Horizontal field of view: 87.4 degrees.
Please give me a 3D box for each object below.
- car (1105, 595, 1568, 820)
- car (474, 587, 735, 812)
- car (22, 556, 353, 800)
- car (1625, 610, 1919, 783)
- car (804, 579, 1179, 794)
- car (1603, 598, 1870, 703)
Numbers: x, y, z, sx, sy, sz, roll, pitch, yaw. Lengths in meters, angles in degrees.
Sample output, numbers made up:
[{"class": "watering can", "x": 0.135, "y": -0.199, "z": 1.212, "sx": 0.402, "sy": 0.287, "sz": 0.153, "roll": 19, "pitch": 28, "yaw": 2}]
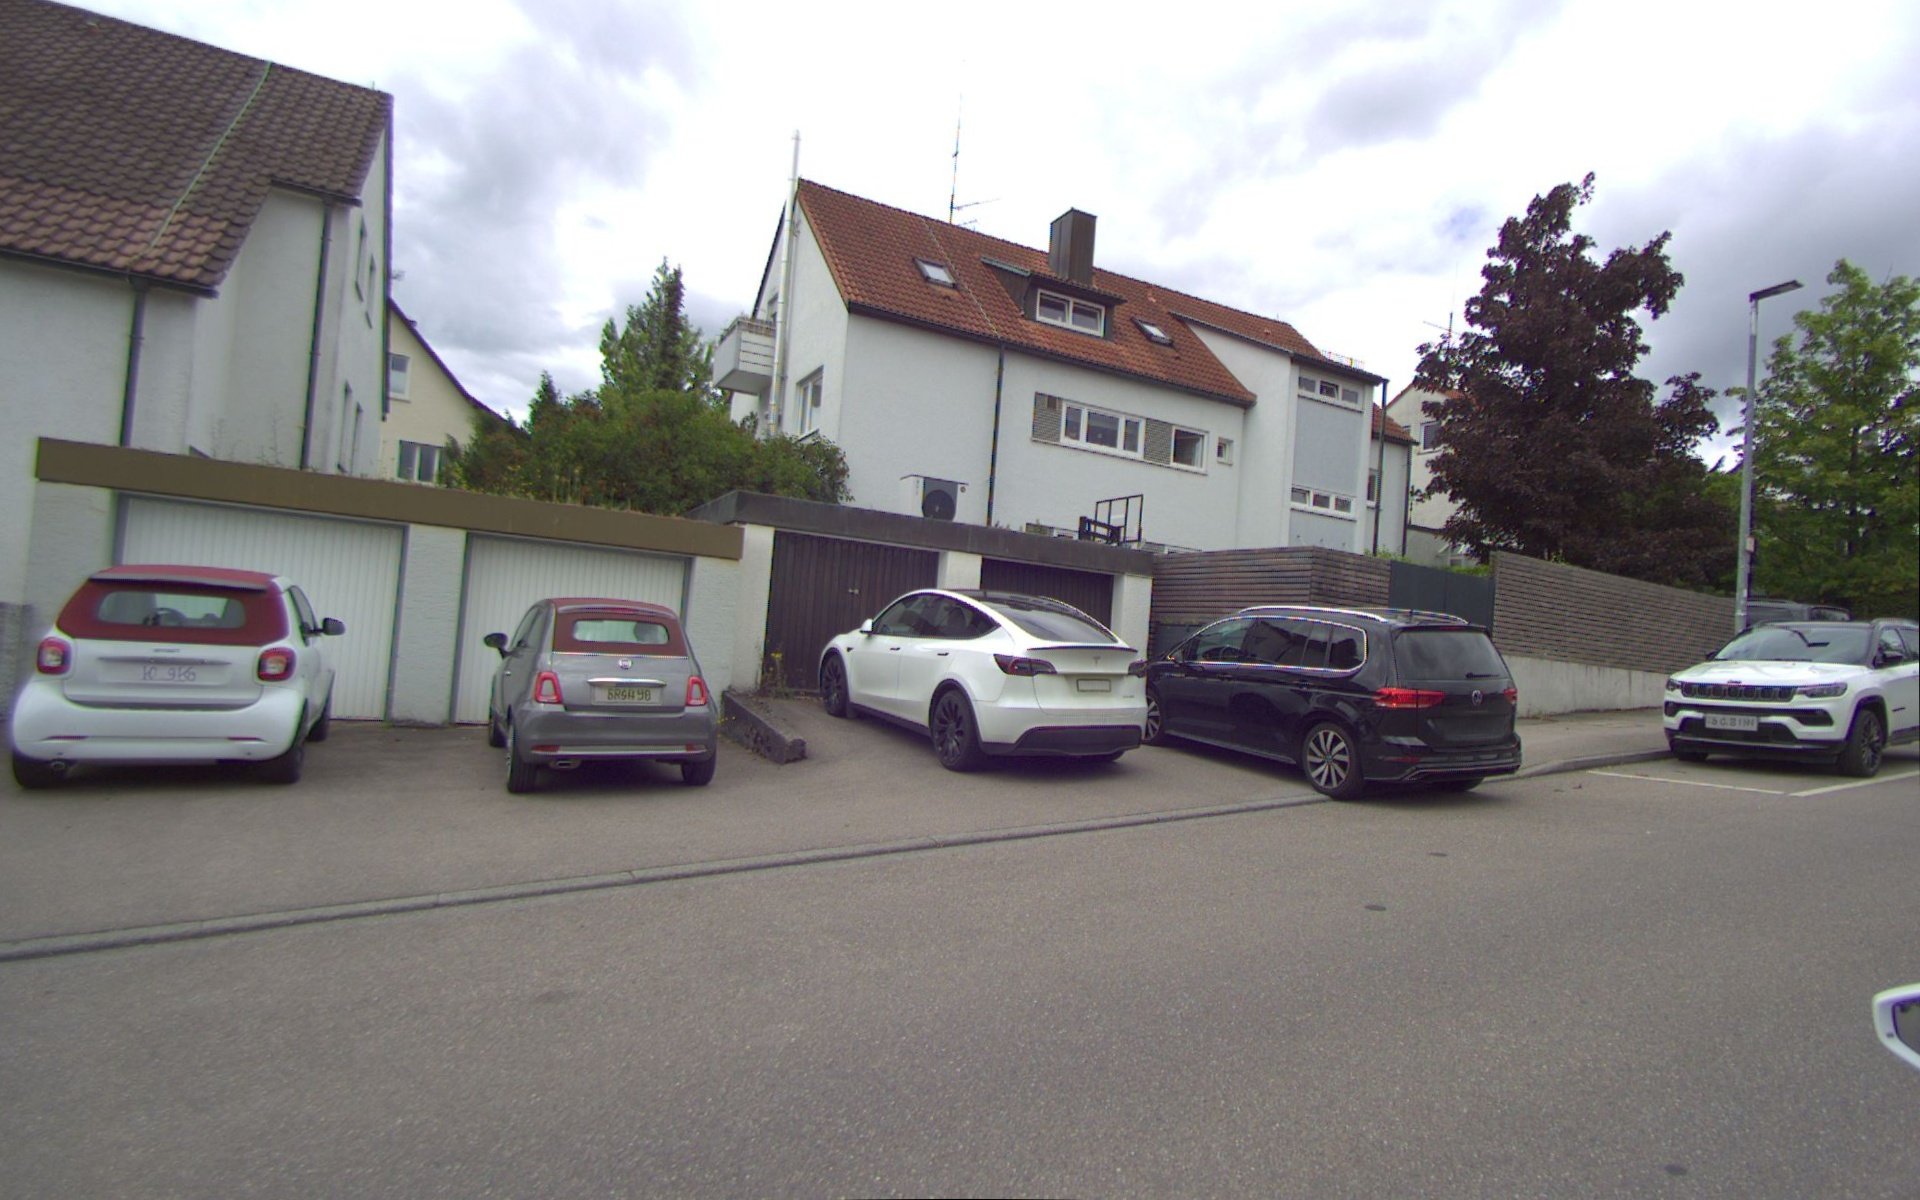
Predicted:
[{"class": "car", "x": 3.464, "y": 0.857, "z": 10.190, "sx": 1.829, "sy": 1.633, "sz": 4.282, "roll": 2, "pitch": 1, "yaw": -26}, {"class": "car", "x": -3.377, "y": 0.731, "z": 9.137, "sx": 1.672, "sy": 1.532, "sz": 3.414, "roll": 3, "pitch": 1, "yaw": -29}, {"class": "car", "x": -6.202, "y": 0.483, "z": 8.466, "sx": 1.637, "sy": 1.599, "sz": 3.414, "roll": 3, "pitch": 1, "yaw": -29}, {"class": "car", "x": 9.889, "y": 1.015, "z": 11.713, "sx": 4.356, "sy": 1.688, "sz": 1.829, "roll": 1, "pitch": -2, "yaw": -30}, {"class": "car", "x": 0.067, "y": 0.704, "z": 10.688, "sx": 1.889, "sy": 1.651, "sz": 4.388, "roll": 2, "pitch": 2, "yaw": -31}, {"class": "car", "x": 16.380, "y": 1.013, "z": 21.449, "sx": 1.971, "sy": 1.975, "sz": 4.065, "roll": 3, "pitch": -1, "yaw": -22}]
